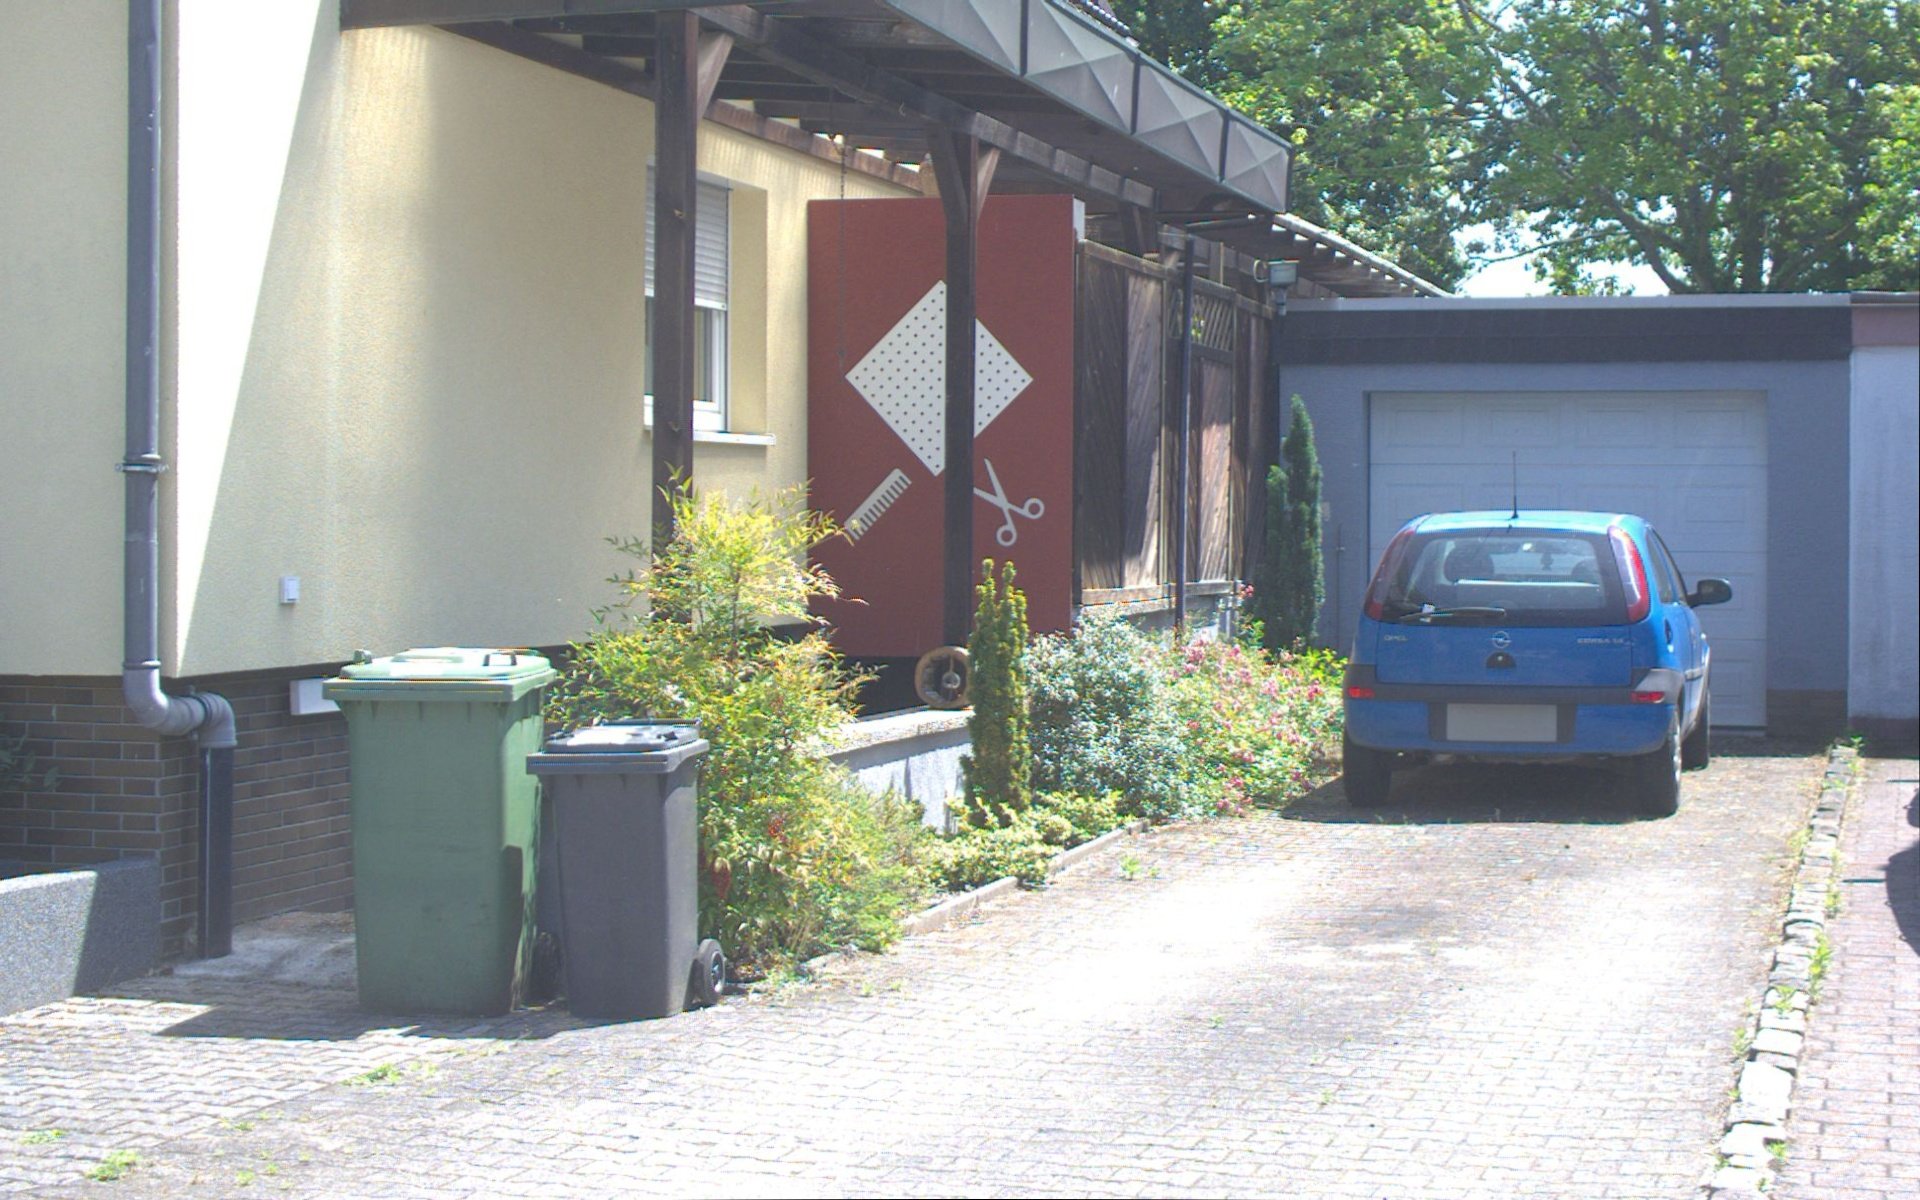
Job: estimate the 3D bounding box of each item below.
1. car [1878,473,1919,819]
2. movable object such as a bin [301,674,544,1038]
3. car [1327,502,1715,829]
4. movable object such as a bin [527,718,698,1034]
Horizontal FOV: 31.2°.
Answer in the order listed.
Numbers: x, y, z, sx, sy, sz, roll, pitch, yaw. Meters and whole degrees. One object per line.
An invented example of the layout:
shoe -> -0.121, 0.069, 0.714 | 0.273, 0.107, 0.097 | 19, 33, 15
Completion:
car -> 5.735, 0.146, 17.603 | 1.924, 1.602, 3.997 | 0, 2, 16
movable object such as a bin -> -1.600, 0.752, 10.282 | 0.591, 1.037, 0.491 | 0, 1, 8
car -> 2.972, 0.254, 17.756 | 1.616, 1.450, 3.252 | 1, 3, 15
movable object such as a bin -> -1.022, 0.805, 10.157 | 0.406, 0.888, 0.426 | 0, 1, 8
